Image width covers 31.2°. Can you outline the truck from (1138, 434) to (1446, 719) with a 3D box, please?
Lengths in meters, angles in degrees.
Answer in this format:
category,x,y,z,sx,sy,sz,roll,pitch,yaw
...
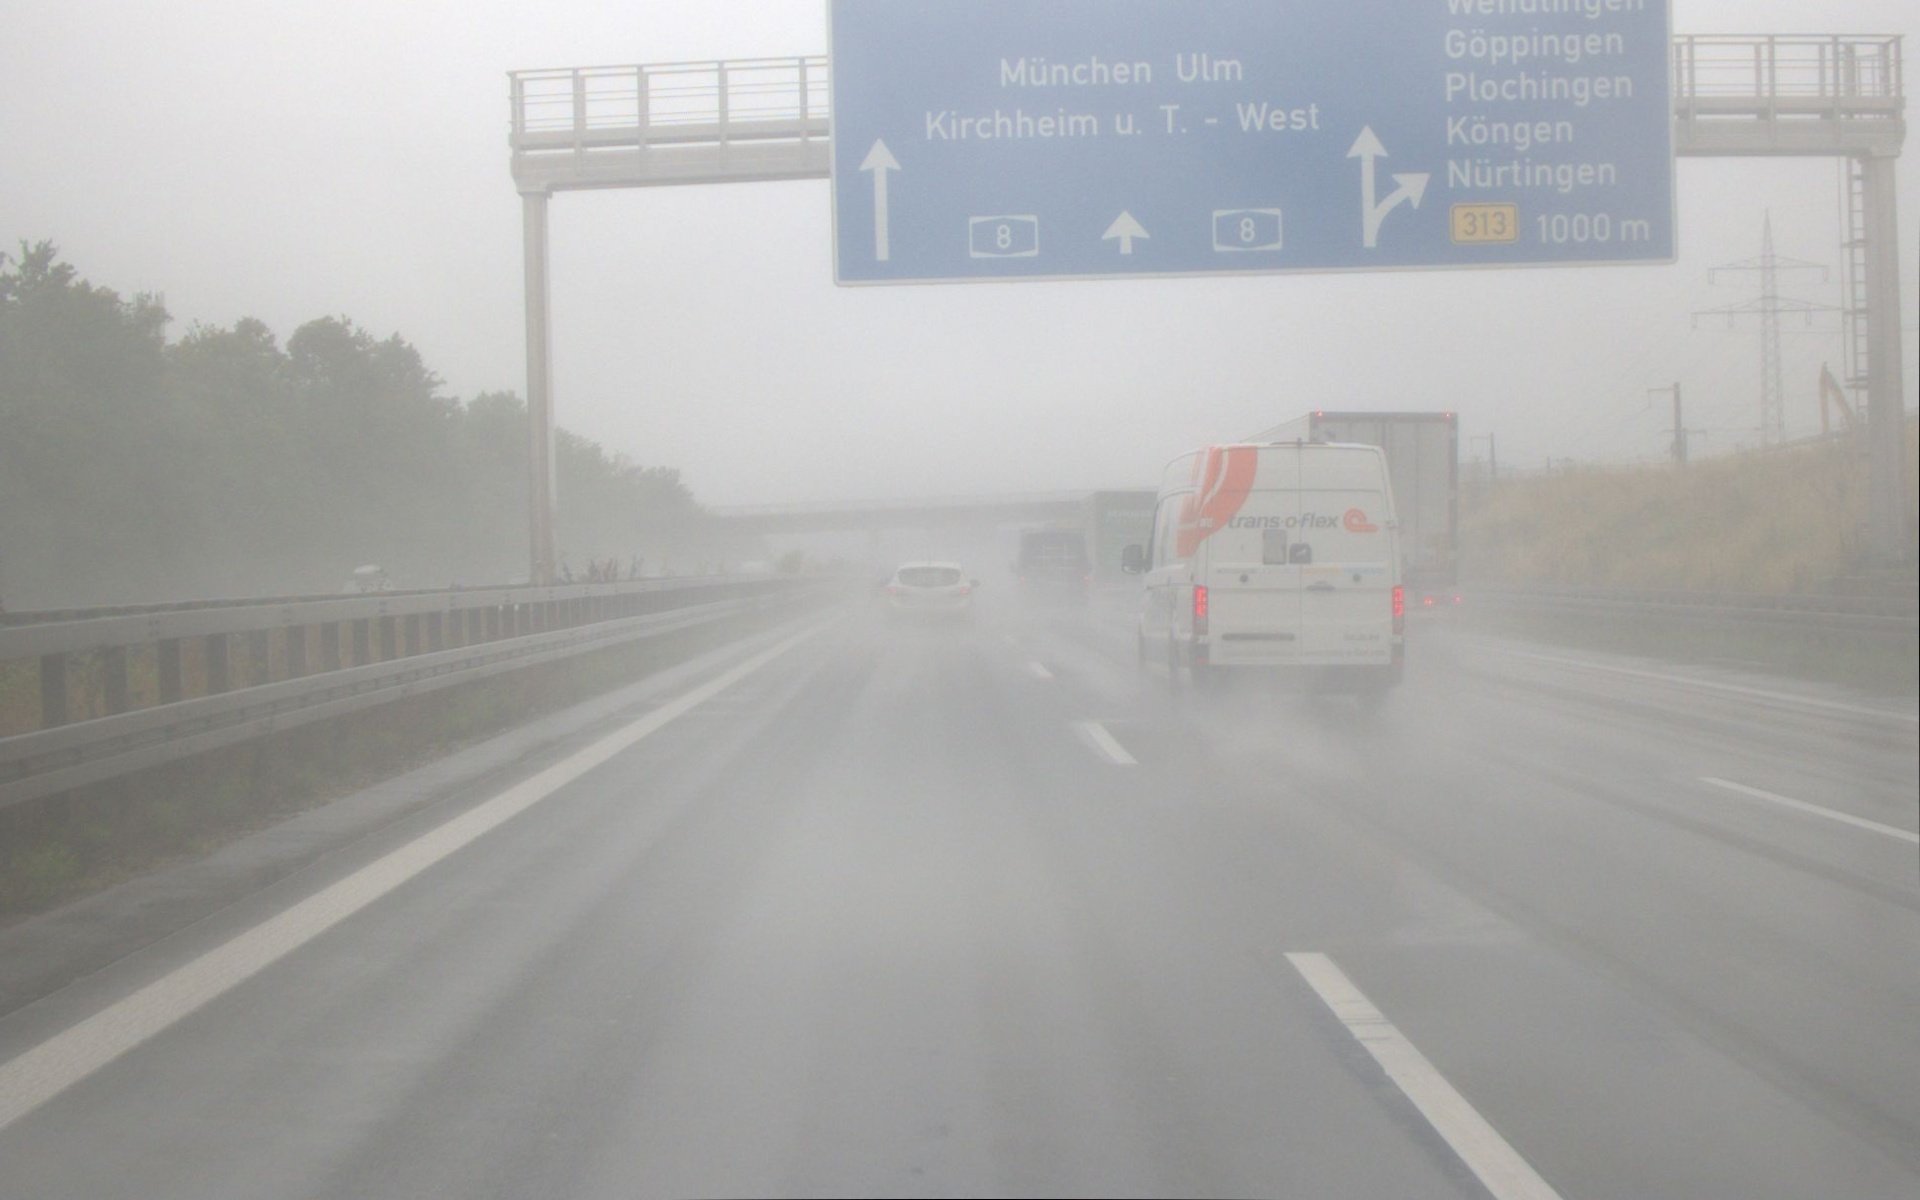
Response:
category,x,y,z,sx,sy,sz,roll,pitch,yaw
truck,3.069,-0.286,33.054,2.419,2.484,5.560,1,2,0

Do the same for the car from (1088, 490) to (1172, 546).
category,x,y,z,sx,sy,sz,roll,pitch,yaw
car,6.222,-3.044,126.661,2.788,2.006,4.993,0,2,-1

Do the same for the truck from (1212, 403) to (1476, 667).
category,x,y,z,sx,sy,sz,roll,pitch,yaw
truck,7.294,-1.236,68.144,3.039,4.572,16.352,0,1,-1
